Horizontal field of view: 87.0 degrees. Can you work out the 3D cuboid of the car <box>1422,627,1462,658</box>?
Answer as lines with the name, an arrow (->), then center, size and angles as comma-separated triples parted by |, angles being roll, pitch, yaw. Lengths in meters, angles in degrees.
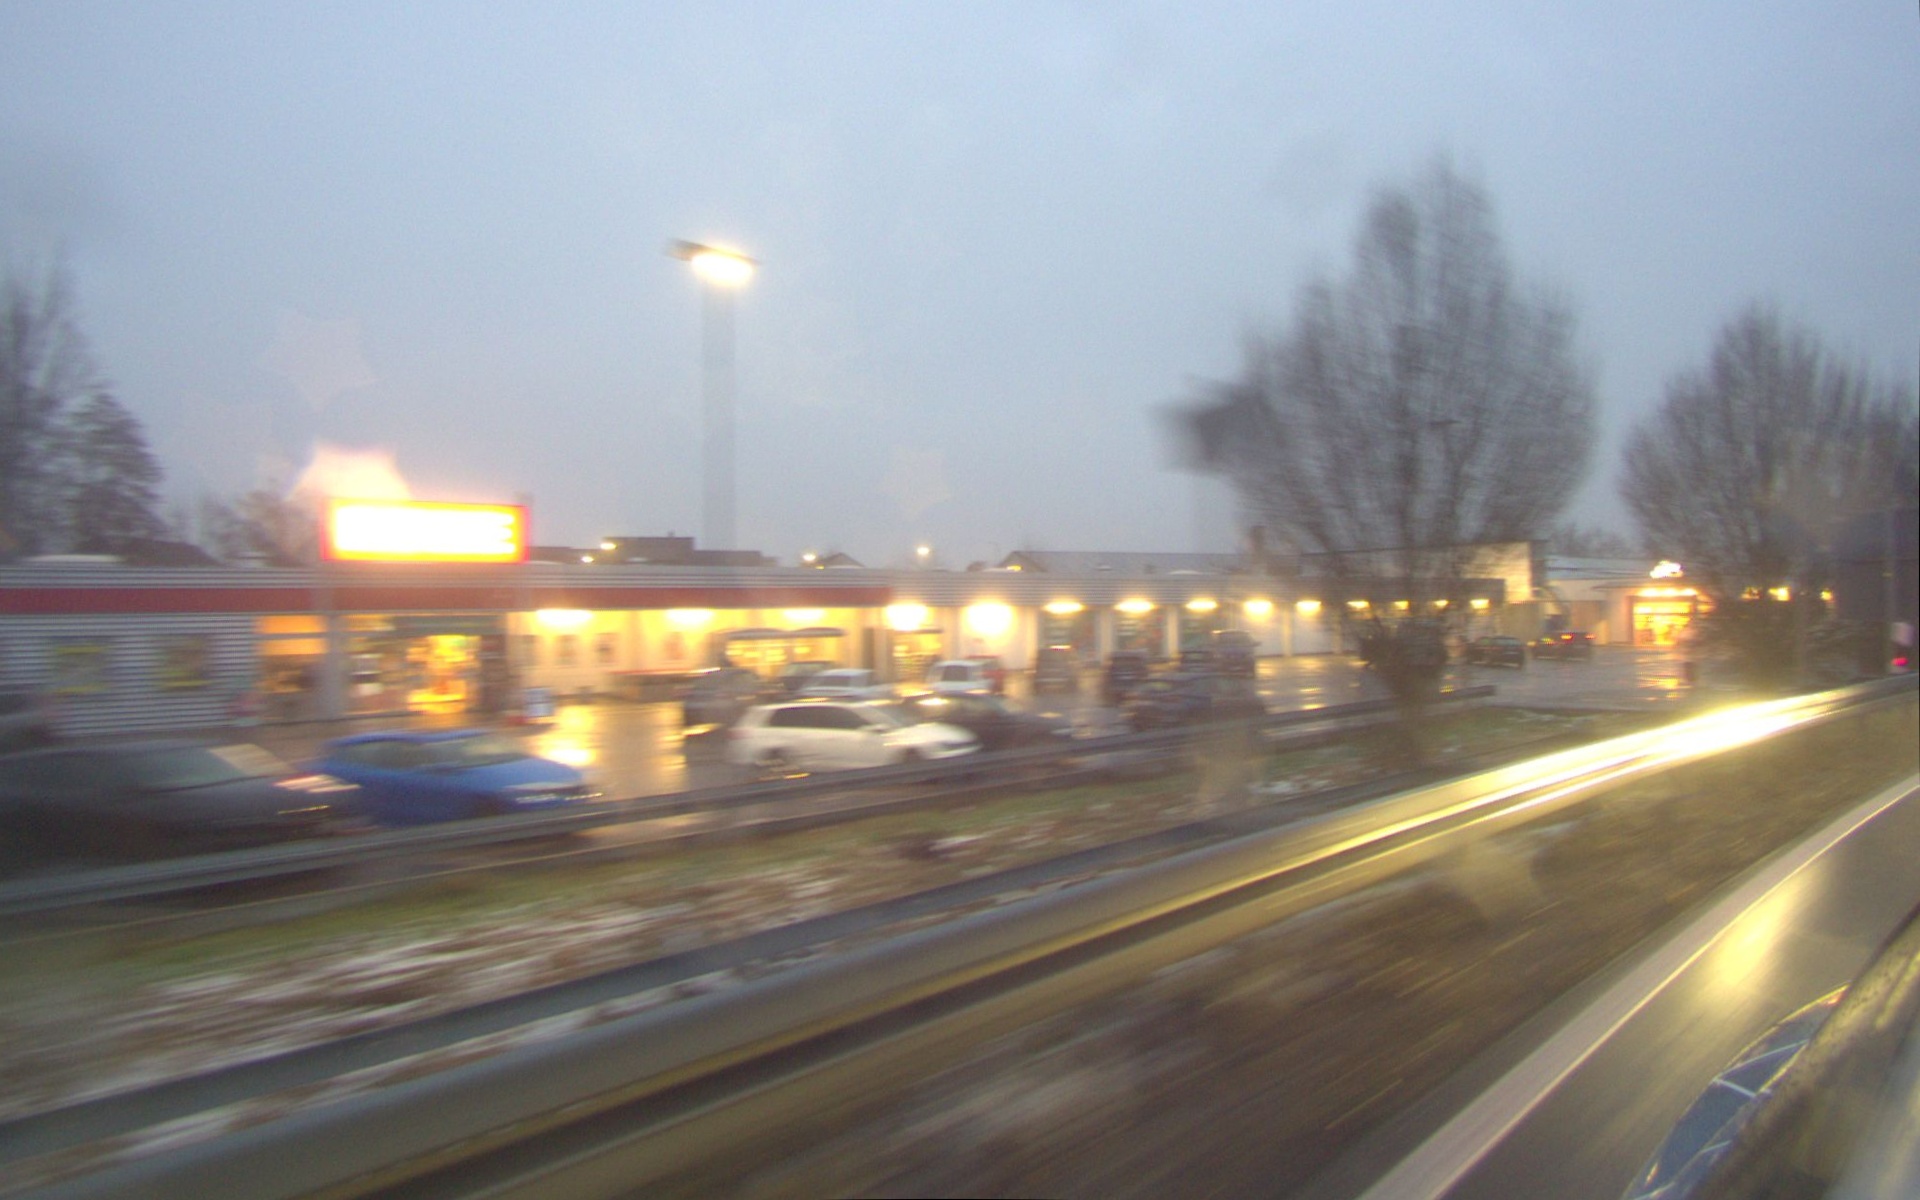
car -> 24.515, 2.147, 51.524 | 1.510, 1.355, 3.564 | 0, 1, 20

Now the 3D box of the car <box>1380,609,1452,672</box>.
car -> 20.045, 1.698, 44.687 | 2.250, 2.470, 5.211 | 0, 1, 17

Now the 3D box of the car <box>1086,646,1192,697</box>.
car -> 5.896, 2.344, 33.469 | 3.195, 1.555, 1.392 | -1, -1, -1

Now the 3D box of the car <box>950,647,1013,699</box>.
car -> 0.809, 2.533, 35.804 | 1.699, 1.520, 4.015 | 0, 0, 9

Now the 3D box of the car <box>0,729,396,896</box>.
car -> -9.449, 2.436, 12.140 | 4.514, 1.473, 1.925 | -1, 0, 11

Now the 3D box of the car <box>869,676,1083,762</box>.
car -> 0.387, 2.353, 20.419 | 4.111, 1.414, 1.847 | 0, 0, 9

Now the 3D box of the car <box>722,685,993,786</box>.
car -> -1.855, 2.423, 18.658 | 4.638, 1.414, 1.895 | 0, 0, 16

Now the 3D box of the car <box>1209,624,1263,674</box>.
car -> 11.869, 2.066, 43.787 | 1.858, 1.983, 4.942 | -1, -1, 11

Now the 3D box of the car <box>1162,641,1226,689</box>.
car -> 8.471, 2.318, 36.867 | 1.689, 1.536, 3.255 | -1, -1, 3

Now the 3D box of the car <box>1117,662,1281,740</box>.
car -> 5.692, 2.325, 24.010 | 3.740, 1.447, 1.773 | -1, 1, -35

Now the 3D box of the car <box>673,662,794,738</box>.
car -> -5.853, 2.545, 26.547 | 1.577, 1.606, 3.614 | -1, 0, 16

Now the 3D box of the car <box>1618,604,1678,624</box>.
car -> 60.501, 1.218, 89.088 | 1.772, 1.617, 4.013 | 0, 1, -35

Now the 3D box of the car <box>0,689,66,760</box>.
car -> -21.038, 2.692, 20.875 | 1.543, 1.369, 3.830 | 0, 0, 8

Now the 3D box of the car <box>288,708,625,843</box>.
car -> -7.171, 2.435, 14.558 | 4.118, 1.414, 1.897 | 0, 0, 14

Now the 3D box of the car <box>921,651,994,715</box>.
car -> -0.001, 2.445, 30.660 | 1.794, 1.660, 4.462 | 0, -2, 5

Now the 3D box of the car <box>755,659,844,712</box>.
car -> -5.025, 2.657, 32.043 | 1.575, 1.364, 3.618 | -1, 0, 13

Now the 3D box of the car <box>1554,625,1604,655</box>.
car -> 31.973, 2.059, 52.337 | 1.510, 1.355, 3.564 | 0, 1, 20

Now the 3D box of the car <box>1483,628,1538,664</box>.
car -> 26.013, 2.135, 47.925 | 1.694, 1.430, 3.987 | 0, 1, 20

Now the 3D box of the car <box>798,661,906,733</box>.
car -> -2.901, 2.599, 28.127 | 1.777, 1.555, 4.529 | 0, 0, 11

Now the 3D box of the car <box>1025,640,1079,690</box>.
car -> 3.416, 2.396, 38.145 | 1.768, 1.615, 3.978 | 0, 0, 1
